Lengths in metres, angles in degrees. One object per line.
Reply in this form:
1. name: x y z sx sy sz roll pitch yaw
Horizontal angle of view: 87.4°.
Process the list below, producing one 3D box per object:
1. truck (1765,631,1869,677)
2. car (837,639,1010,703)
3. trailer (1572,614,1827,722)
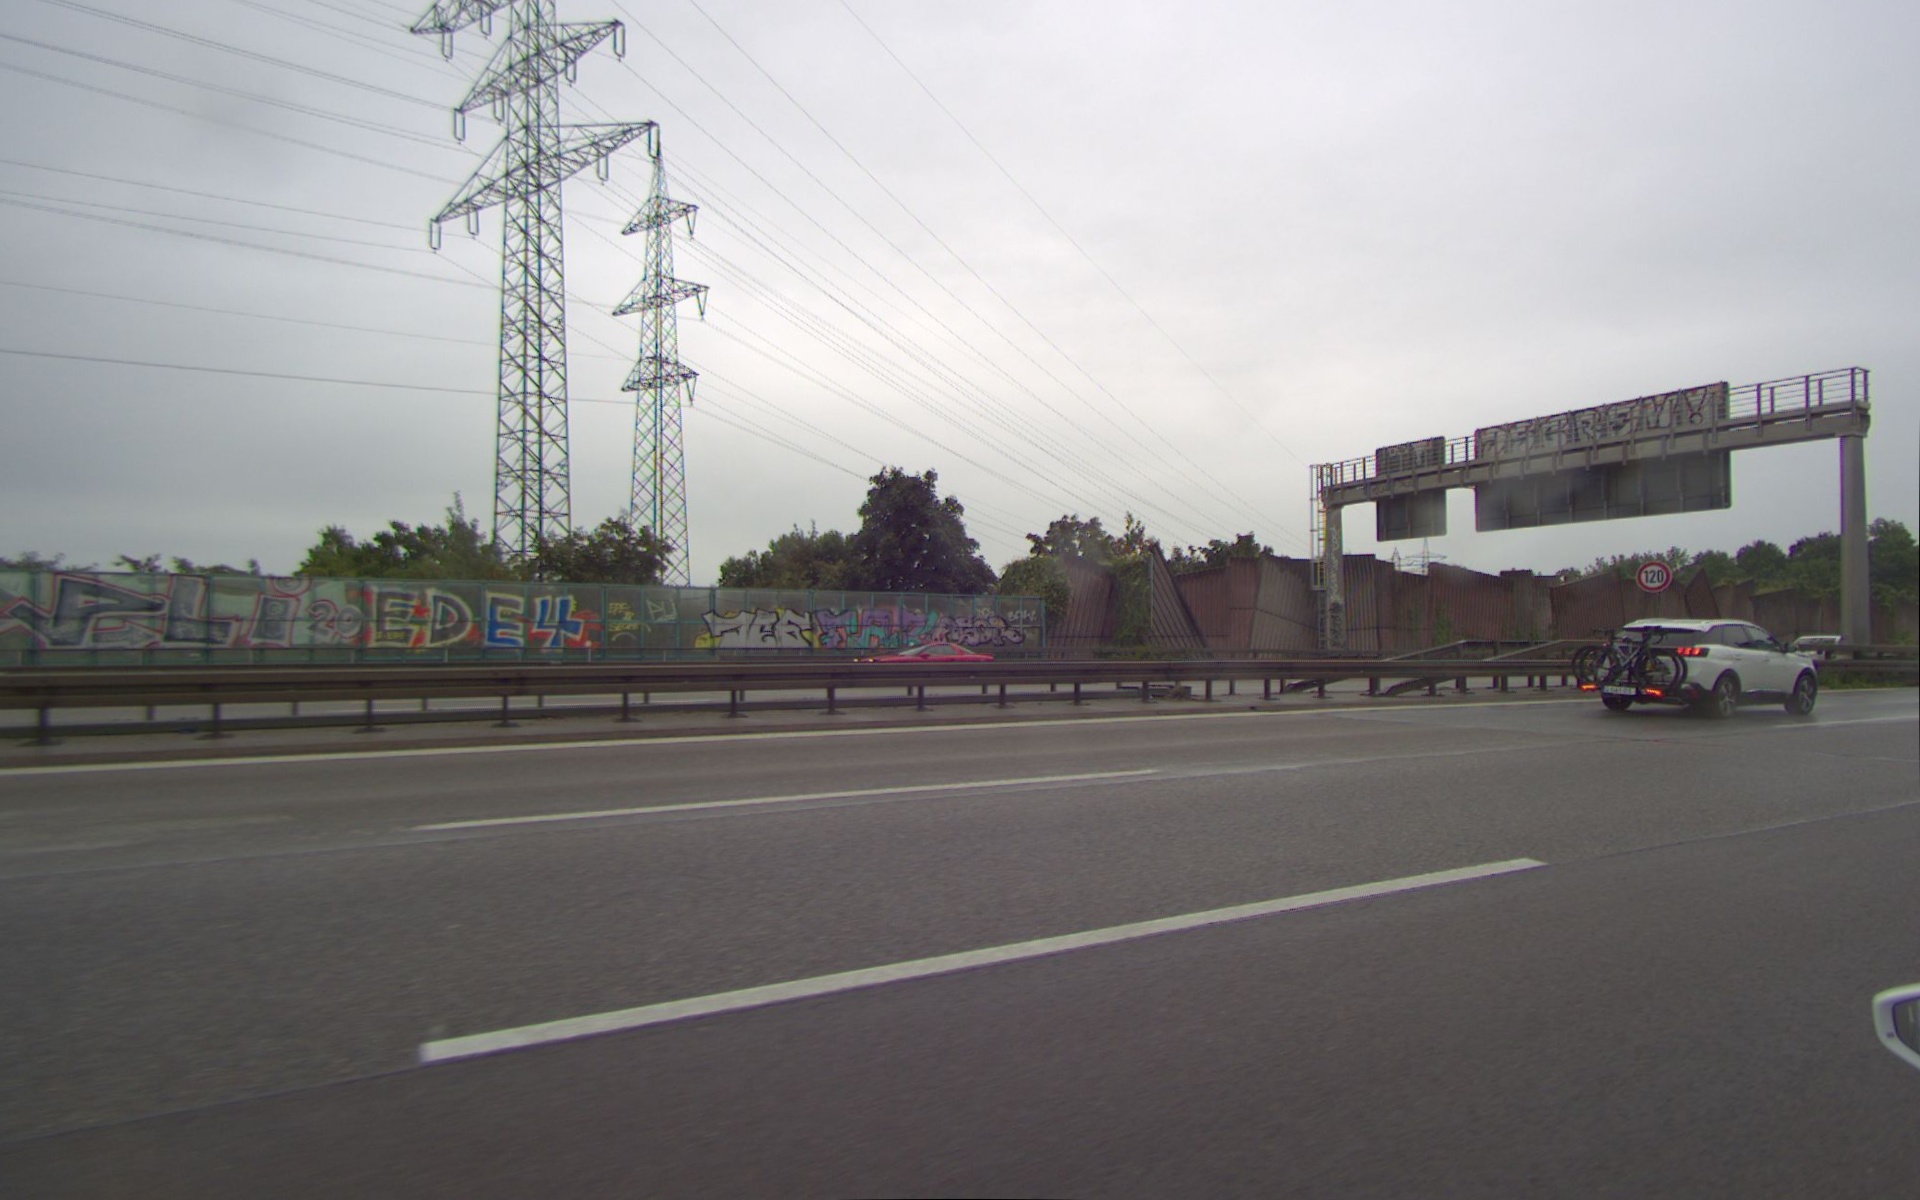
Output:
1. truck: 38.775 2.380 45.430 5.187 1.956 1.984 1 -1 -30
2. car: -1.102 2.134 31.217 5.047 1.807 1.984 1 -1 -30
3. trailer: 12.766 1.107 17.285 4.512 1.646 1.807 2 -1 -29
